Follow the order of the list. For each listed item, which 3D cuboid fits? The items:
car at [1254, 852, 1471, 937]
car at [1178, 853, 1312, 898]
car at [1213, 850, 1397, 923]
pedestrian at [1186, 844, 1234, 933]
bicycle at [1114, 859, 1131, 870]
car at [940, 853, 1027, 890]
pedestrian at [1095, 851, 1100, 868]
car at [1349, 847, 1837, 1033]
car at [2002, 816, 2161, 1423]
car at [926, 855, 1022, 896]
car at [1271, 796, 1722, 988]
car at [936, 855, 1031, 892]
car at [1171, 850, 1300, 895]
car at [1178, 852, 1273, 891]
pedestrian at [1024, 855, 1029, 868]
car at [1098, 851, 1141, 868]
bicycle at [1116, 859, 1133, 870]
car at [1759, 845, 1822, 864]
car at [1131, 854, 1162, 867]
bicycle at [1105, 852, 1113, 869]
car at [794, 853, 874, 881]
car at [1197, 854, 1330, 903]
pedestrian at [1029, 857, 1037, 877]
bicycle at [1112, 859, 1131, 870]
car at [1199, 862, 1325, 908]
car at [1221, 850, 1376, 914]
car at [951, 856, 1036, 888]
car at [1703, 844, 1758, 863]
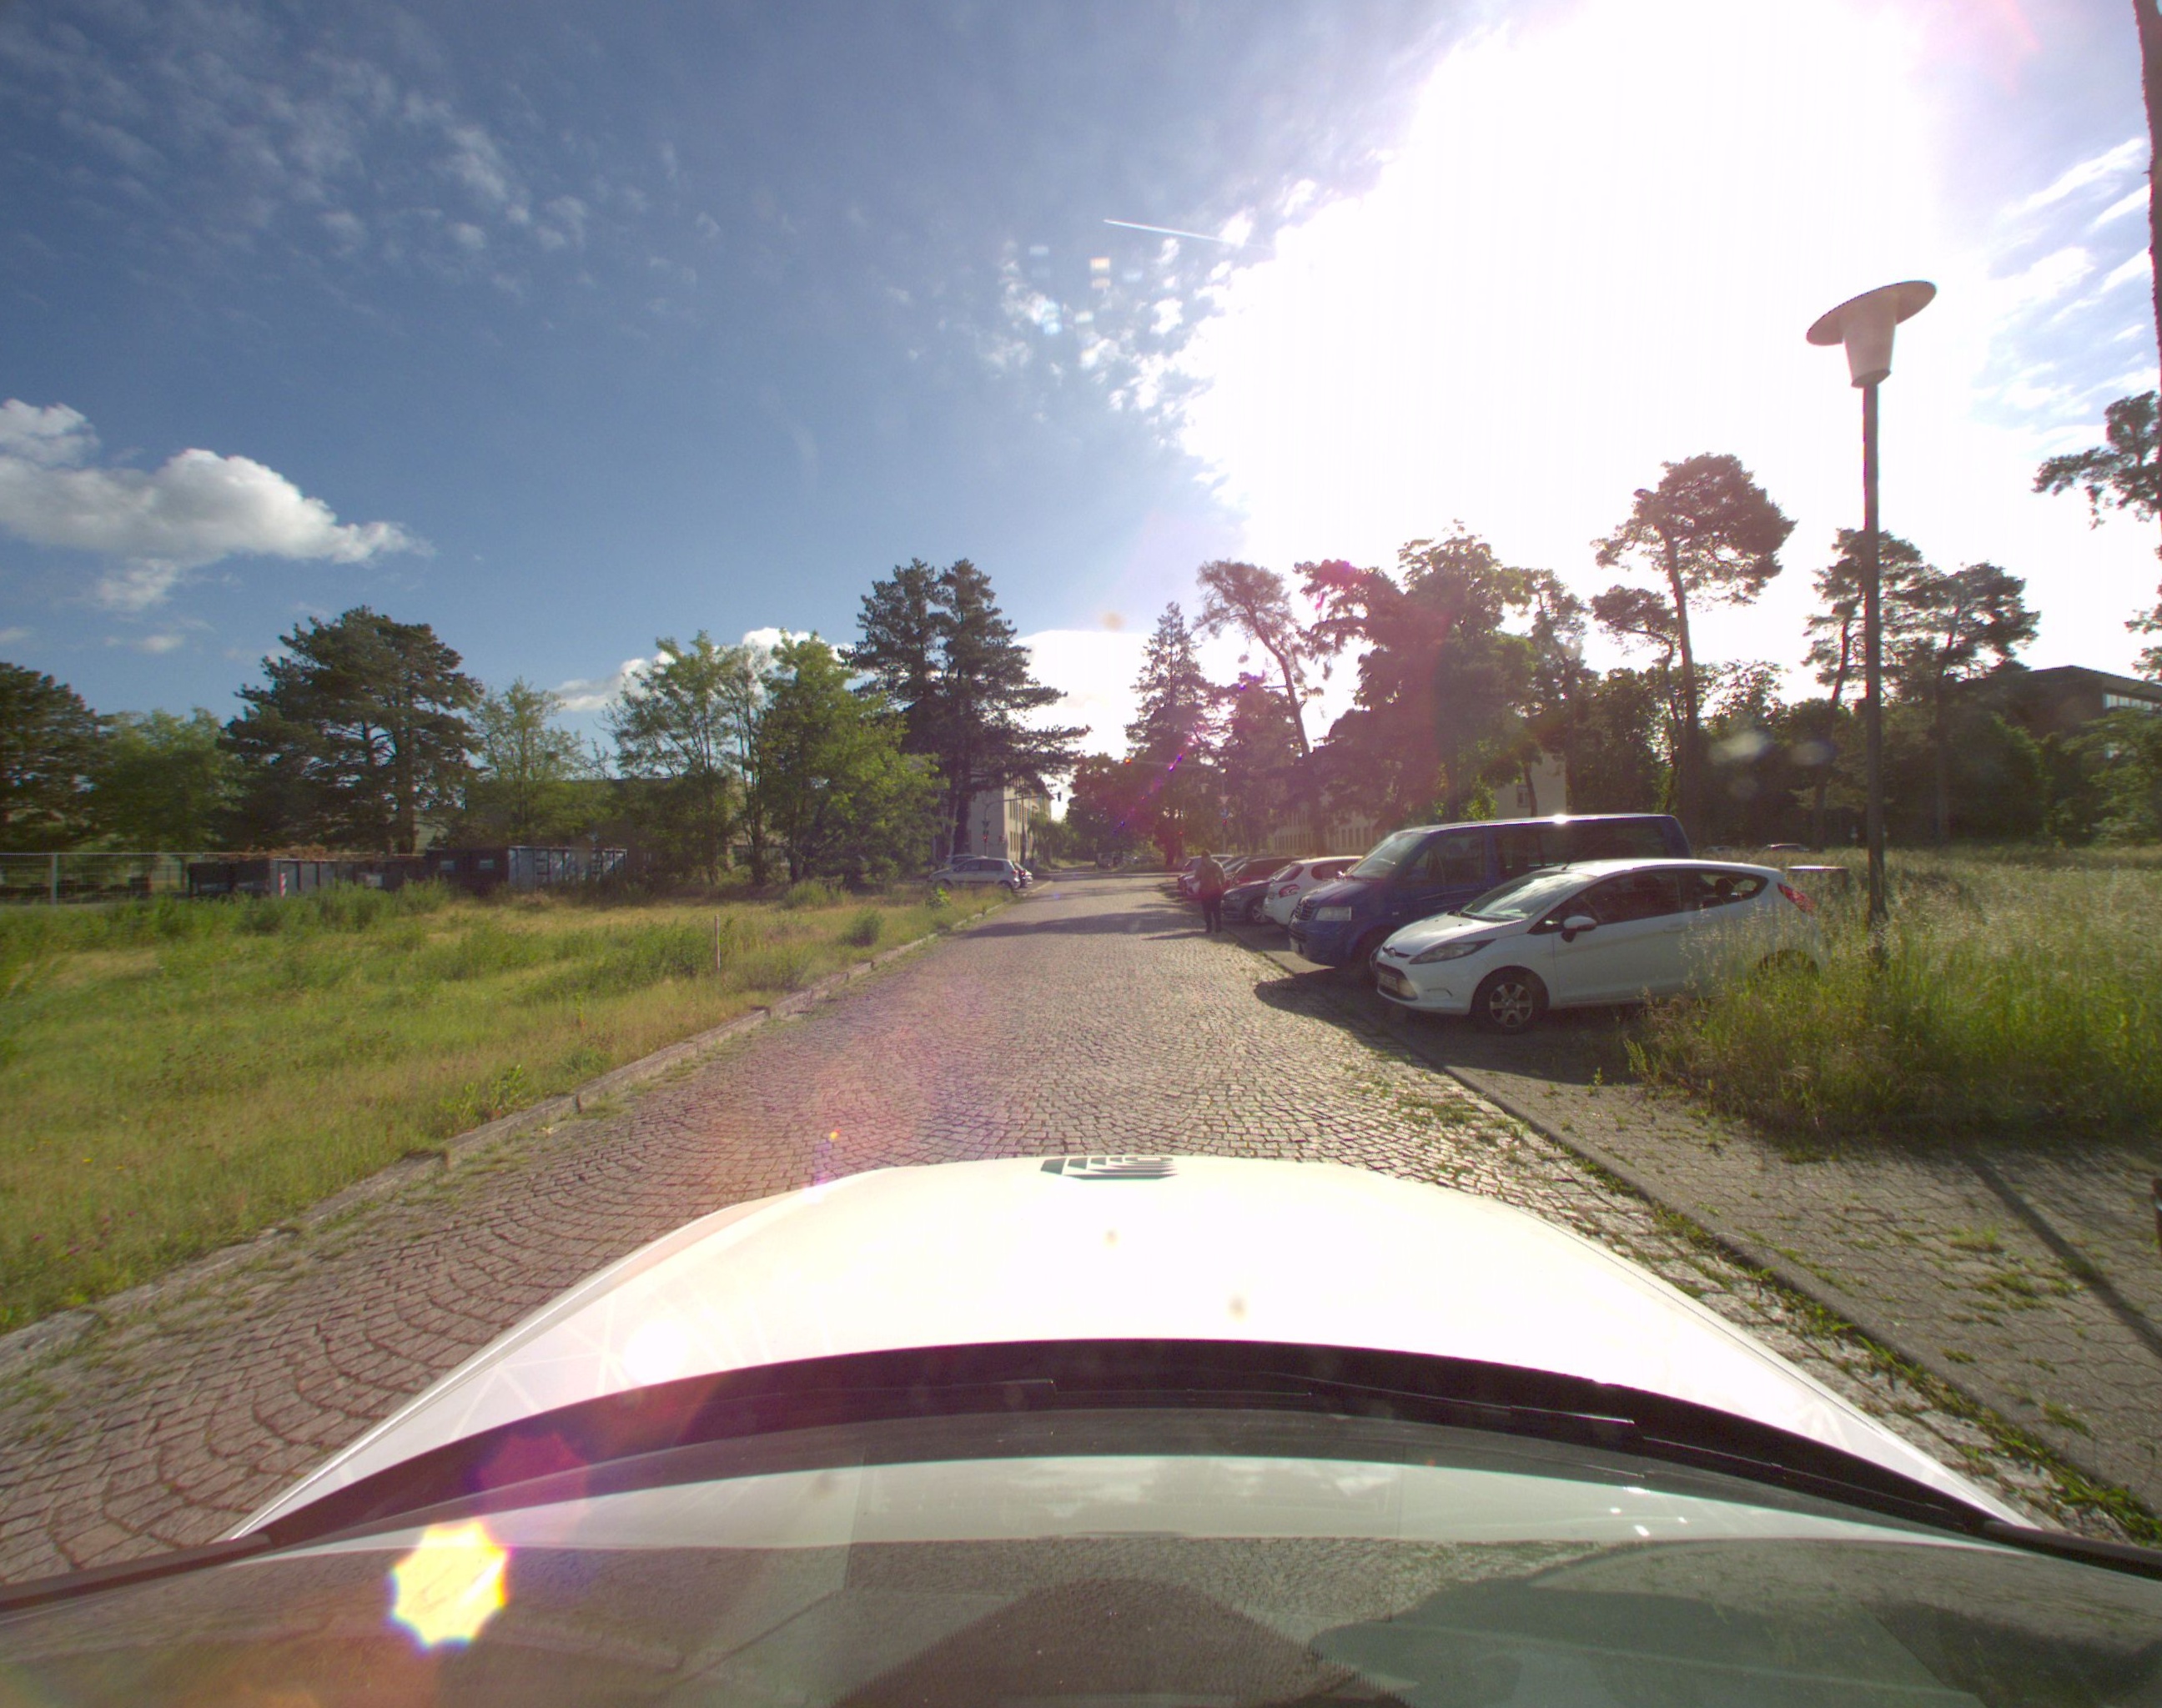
[{"bbox_3d":[5.341,0.755,15.784,3.631,1.492,1.635,-1,0,2],"label":"car"},{"bbox_3d":[5.759,0.753,28.989,4.384,1.388,1.789,-2,0,0],"label":"car"},{"bbox_3d":[5.042,0.723,18.725,3.765,1.450,1.759,-2,0,3],"label":"car"},{"bbox_3d":[2.629,0.693,16.669,0.750,1.725,0.829,4,0,1],"label":"pedestrian"},{"bbox_3d":[4.229,1.107,83.726,1.723,1.112,0.484,-1,-1,-2],"label":"bicycle"},{"bbox_3d":[-4.602,0.812,38.869,3.866,1.615,1.660,1,0,0],"label":"car"},{"bbox_3d":[1.983,0.702,99.217,0.592,2.014,0.573,-1,0,3],"label":"pedestrian"},{"bbox_3d":[4.748,0.752,7.921,3.708,1.467,1.609,-2,0,-1],"label":"car"},{"bbox_3d":[4.890,0.656,1.623,4.093,1.611,1.786,-1,0,0],"label":"car"},{"bbox_3d":[-4.356,0.861,33.554,3.674,1.527,1.698,1,0,-1],"label":"car"},{"bbox_3d":[5.087,0.454,10.545,4.736,2.013,2.001,-3,0,2],"label":"car"},{"bbox_3d":[-4.300,0.862,36.218,3.924,1.445,1.691,2,0,0],"label":"car"},{"bbox_3d":[5.914,0.710,31.630,4.606,1.455,1.869,-3,0,-1],"label":"car"},{"bbox_3d":[6.008,0.723,34.167,3.659,1.443,1.666,-3,0,1],"label":"car"},{"bbox_3d":[-6.515,0.899,97.395,0.606,1.560,0.544,-1,0,-5],"label":"pedestrian"},{"bbox_3d":[4.777,0.688,101.136,5.063,1.918,1.995,-1,0,-8],"label":"car"},{"bbox_3d":[4.486,1.070,84.403,1.723,1.164,0.560,-1,-1,-2],"label":"bicycle"},{"bbox_3d":[59.020,0.057,67.805,3.619,1.498,1.769,-1,0,4],"label":"car"},{"bbox_3d":[8.431,0.792,104.905,3.738,1.580,1.738,-1,0,-6],"label":"car"},{"bbox_3d":[2.713,0.648,79.974,0.750,1.580,2.537,-1,0,1],"label":"bicycle"},{"bbox_3d":[-14.876,0.755,49.103,4.127,1.608,2.011,-1,0,2],"label":"car"},{"bbox_3d":[5.892,0.777,26.566,3.965,1.448,1.656,-2,0,1],"label":"car"},{"bbox_3d":[-4.302,1.131,72.854,0.608,1.752,0.627,0,0,-17],"label":"pedestrian"},{"bbox_3d":[4.143,1.105,83.183,1.829,1.112,0.495,-1,-1,-2],"label":"bicycle"},{"bbox_3d":[5.315,0.900,24.187,3.447,1.242,1.537,-1,0,2],"label":"car"},{"bbox_3d":[5.670,0.718,21.548,3.649,1.455,1.667,-3,0,1],"label":"car"},{"bbox_3d":[-4.427,0.884,41.616,3.966,1.496,1.776,1,0,6],"label":"car"},{"bbox_3d":[60.011,0.001,75.316,3.619,1.671,1.769,-1,0,4],"label":"car"}]
